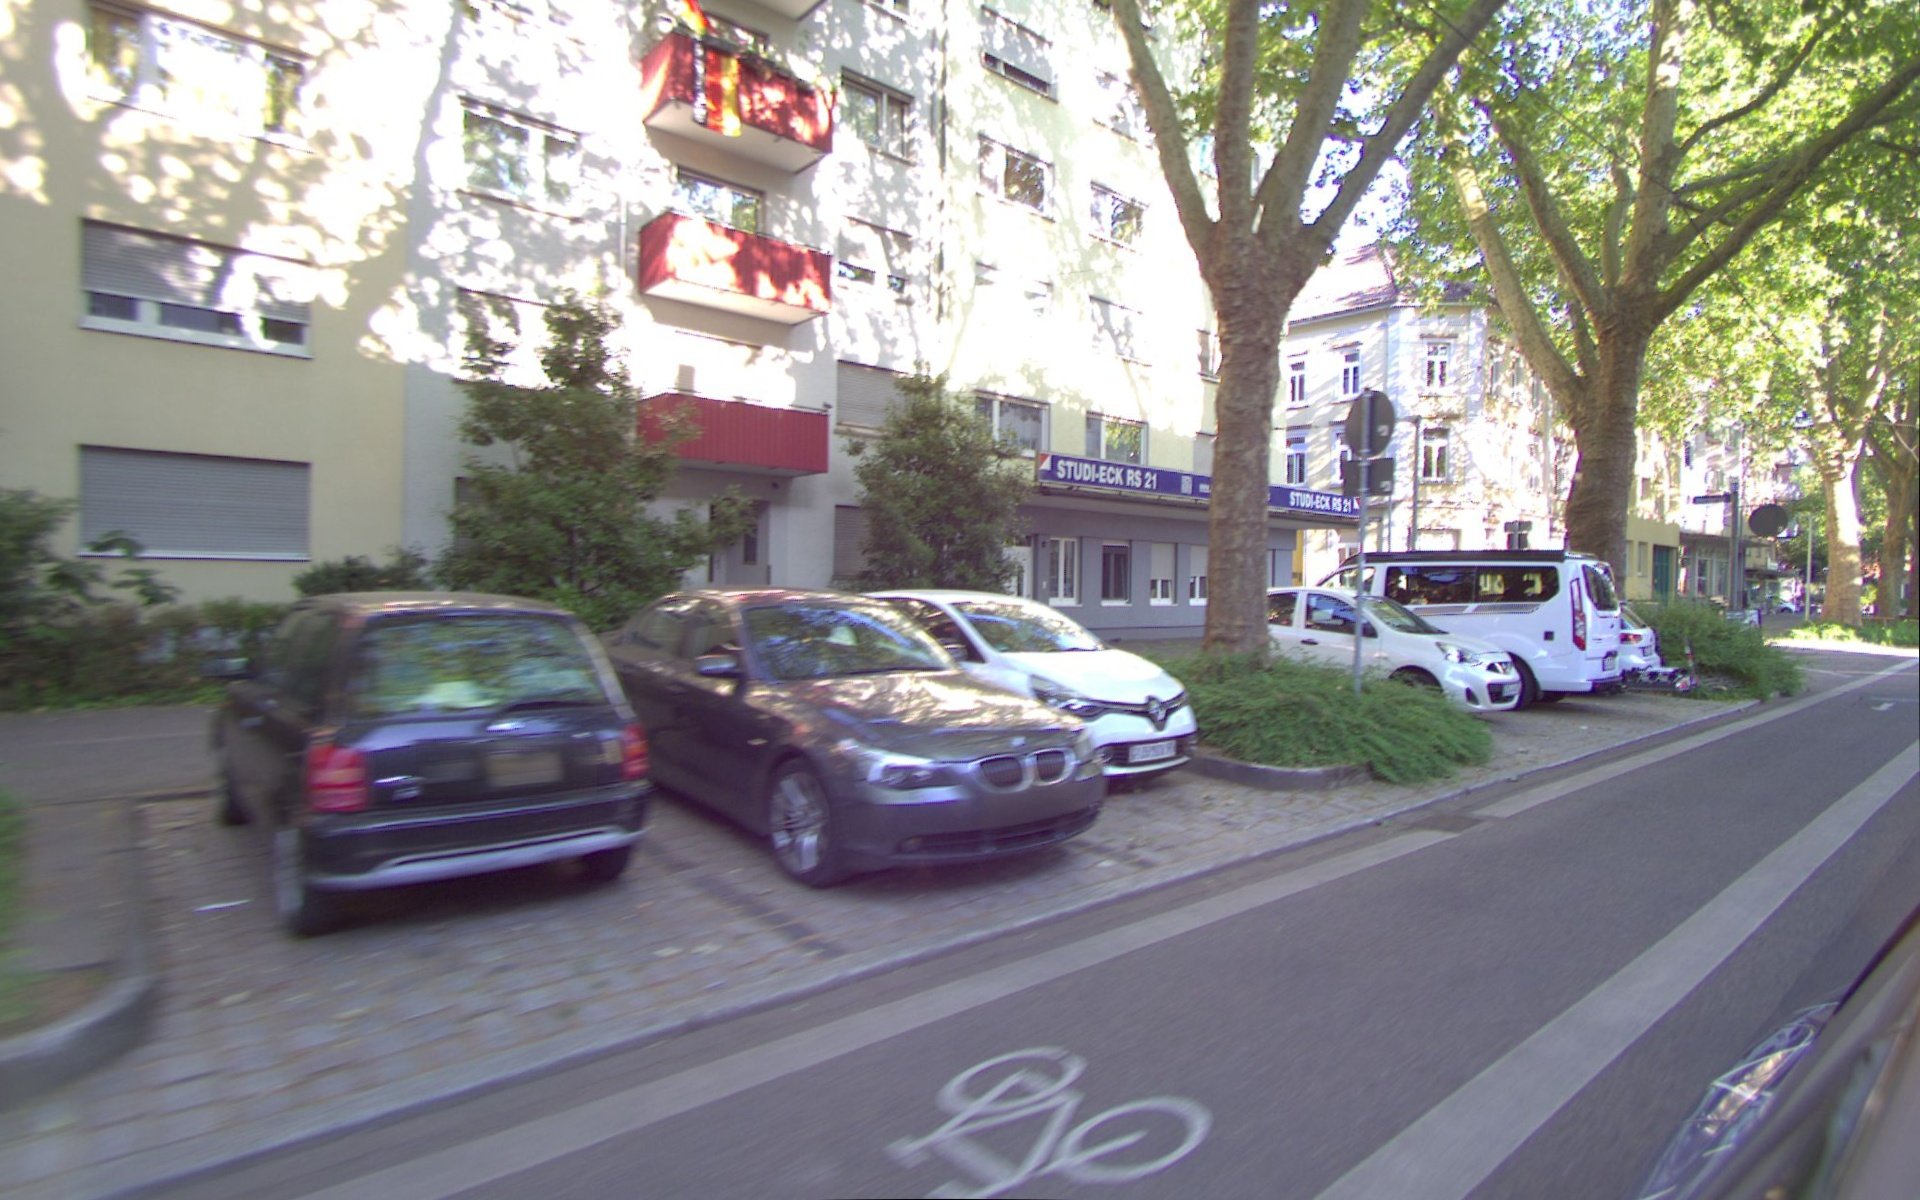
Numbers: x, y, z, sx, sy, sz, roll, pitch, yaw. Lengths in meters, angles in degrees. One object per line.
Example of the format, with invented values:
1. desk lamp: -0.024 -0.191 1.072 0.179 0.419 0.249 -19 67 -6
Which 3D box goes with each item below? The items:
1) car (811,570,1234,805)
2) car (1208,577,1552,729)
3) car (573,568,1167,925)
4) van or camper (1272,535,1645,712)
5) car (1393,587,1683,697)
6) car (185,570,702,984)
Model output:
1. car: 0.364 0.542 8.606 1.615 1.499 3.481 0 3 -40
2. car: 5.064 0.523 12.520 1.649 1.550 3.568 0 2 -42
3. car: -0.903 0.591 6.692 1.877 1.499 4.206 0 3 -39
4. van or camper: 6.892 0.198 14.364 1.808 2.136 4.381 0 2 -44
5. car: 8.939 0.556 15.891 1.694 1.457 3.573 0 2 -37
6. car: -3.149 0.608 5.736 1.671 1.461 3.832 0 3 -42
